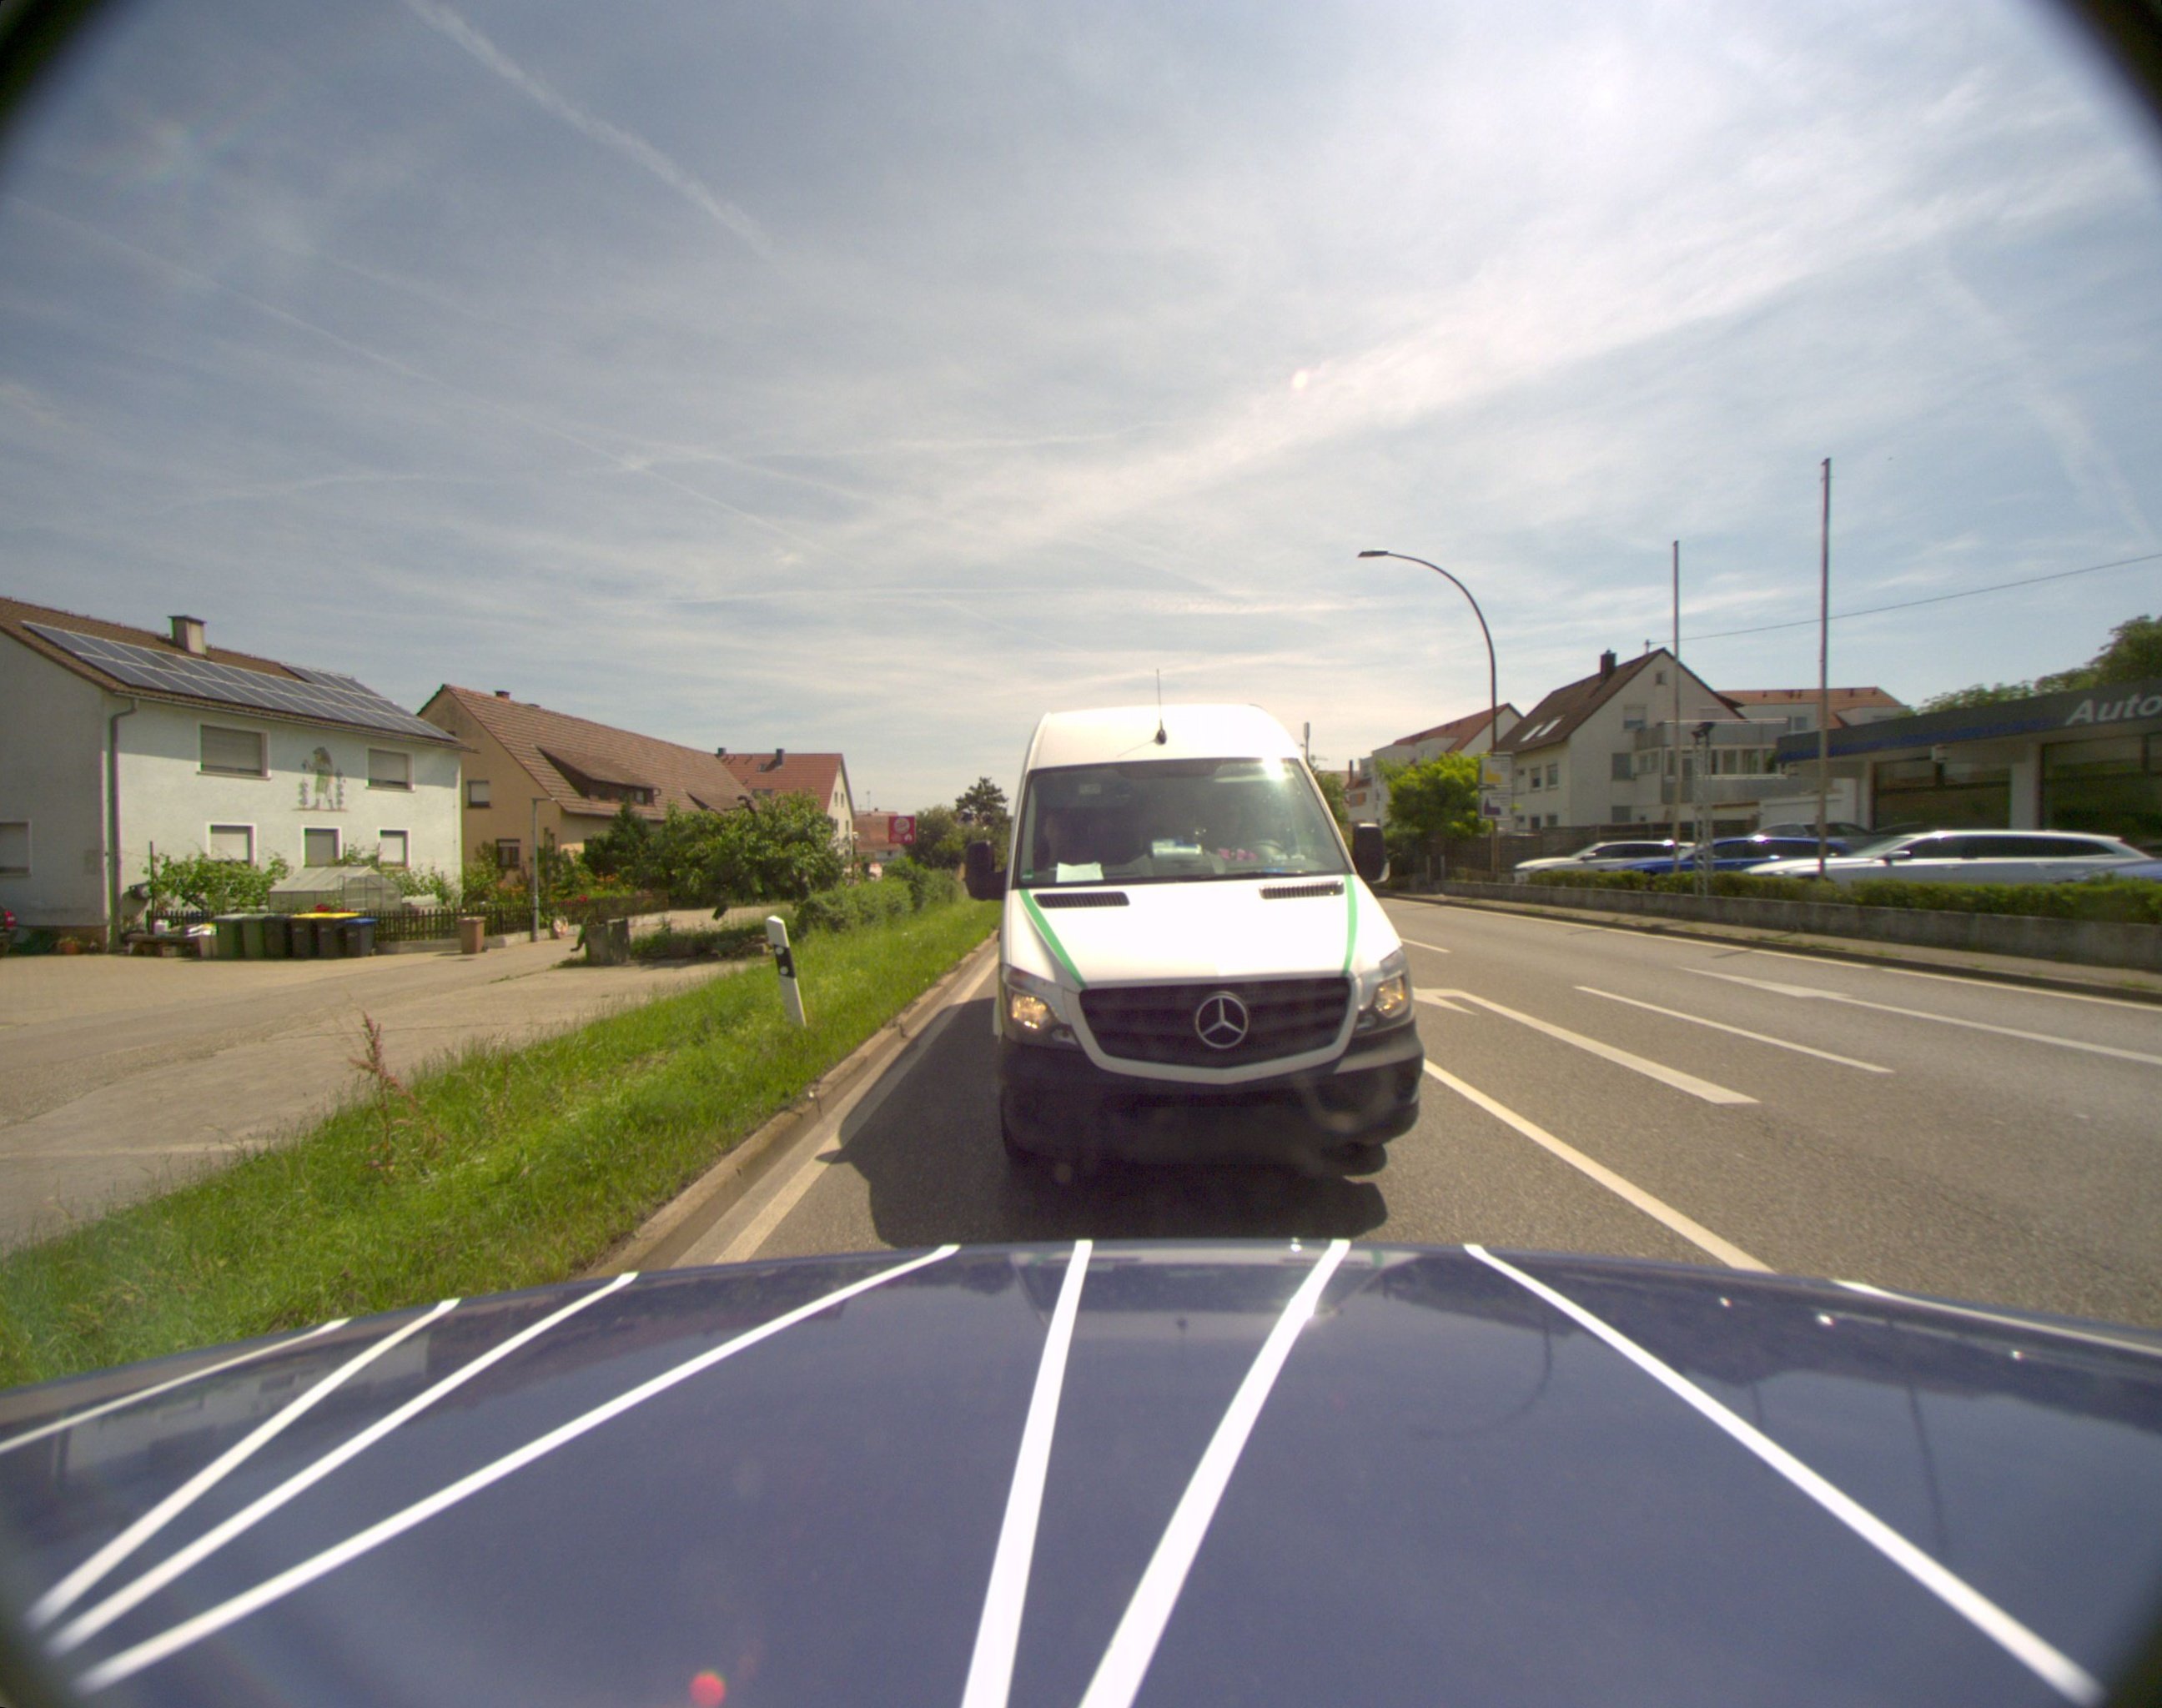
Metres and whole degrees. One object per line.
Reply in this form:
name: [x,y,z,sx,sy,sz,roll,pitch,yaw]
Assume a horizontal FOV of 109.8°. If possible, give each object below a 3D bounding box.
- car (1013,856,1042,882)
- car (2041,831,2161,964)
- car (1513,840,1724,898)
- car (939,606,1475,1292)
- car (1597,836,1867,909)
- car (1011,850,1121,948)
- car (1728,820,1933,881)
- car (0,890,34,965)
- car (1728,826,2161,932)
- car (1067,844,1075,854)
car: [-3.503,0.967,50.055,1.636,1.476,3.551,-4,1,-1]
car: [14.427,0.431,8.410,4.331,1.439,1.860,-2,1,27]
car: [14.616,0.424,21.016,4.568,1.439,1.860,-2,1,29]
car: [0.474,0.353,5.713,1.939,2.514,5.748,-2,0,0]
car: [14.349,0.410,17.135,4.331,1.439,1.860,-2,1,29]
car: [-0.273,0.806,15.951,1.884,1.652,4.625,-3,0,0]
car: [20.830,-0.100,21.452,1.807,1.456,4.585,-2,0,10]
car: [-26.861,1.731,17.168,3.957,1.683,1.844,0,1,3]
car: [14.120,0.445,12.853,4.505,1.439,1.860,-4,0,30]
car: [-2.624,-1.271,197.983,1.998,2.573,3.999,-2,1,0]
